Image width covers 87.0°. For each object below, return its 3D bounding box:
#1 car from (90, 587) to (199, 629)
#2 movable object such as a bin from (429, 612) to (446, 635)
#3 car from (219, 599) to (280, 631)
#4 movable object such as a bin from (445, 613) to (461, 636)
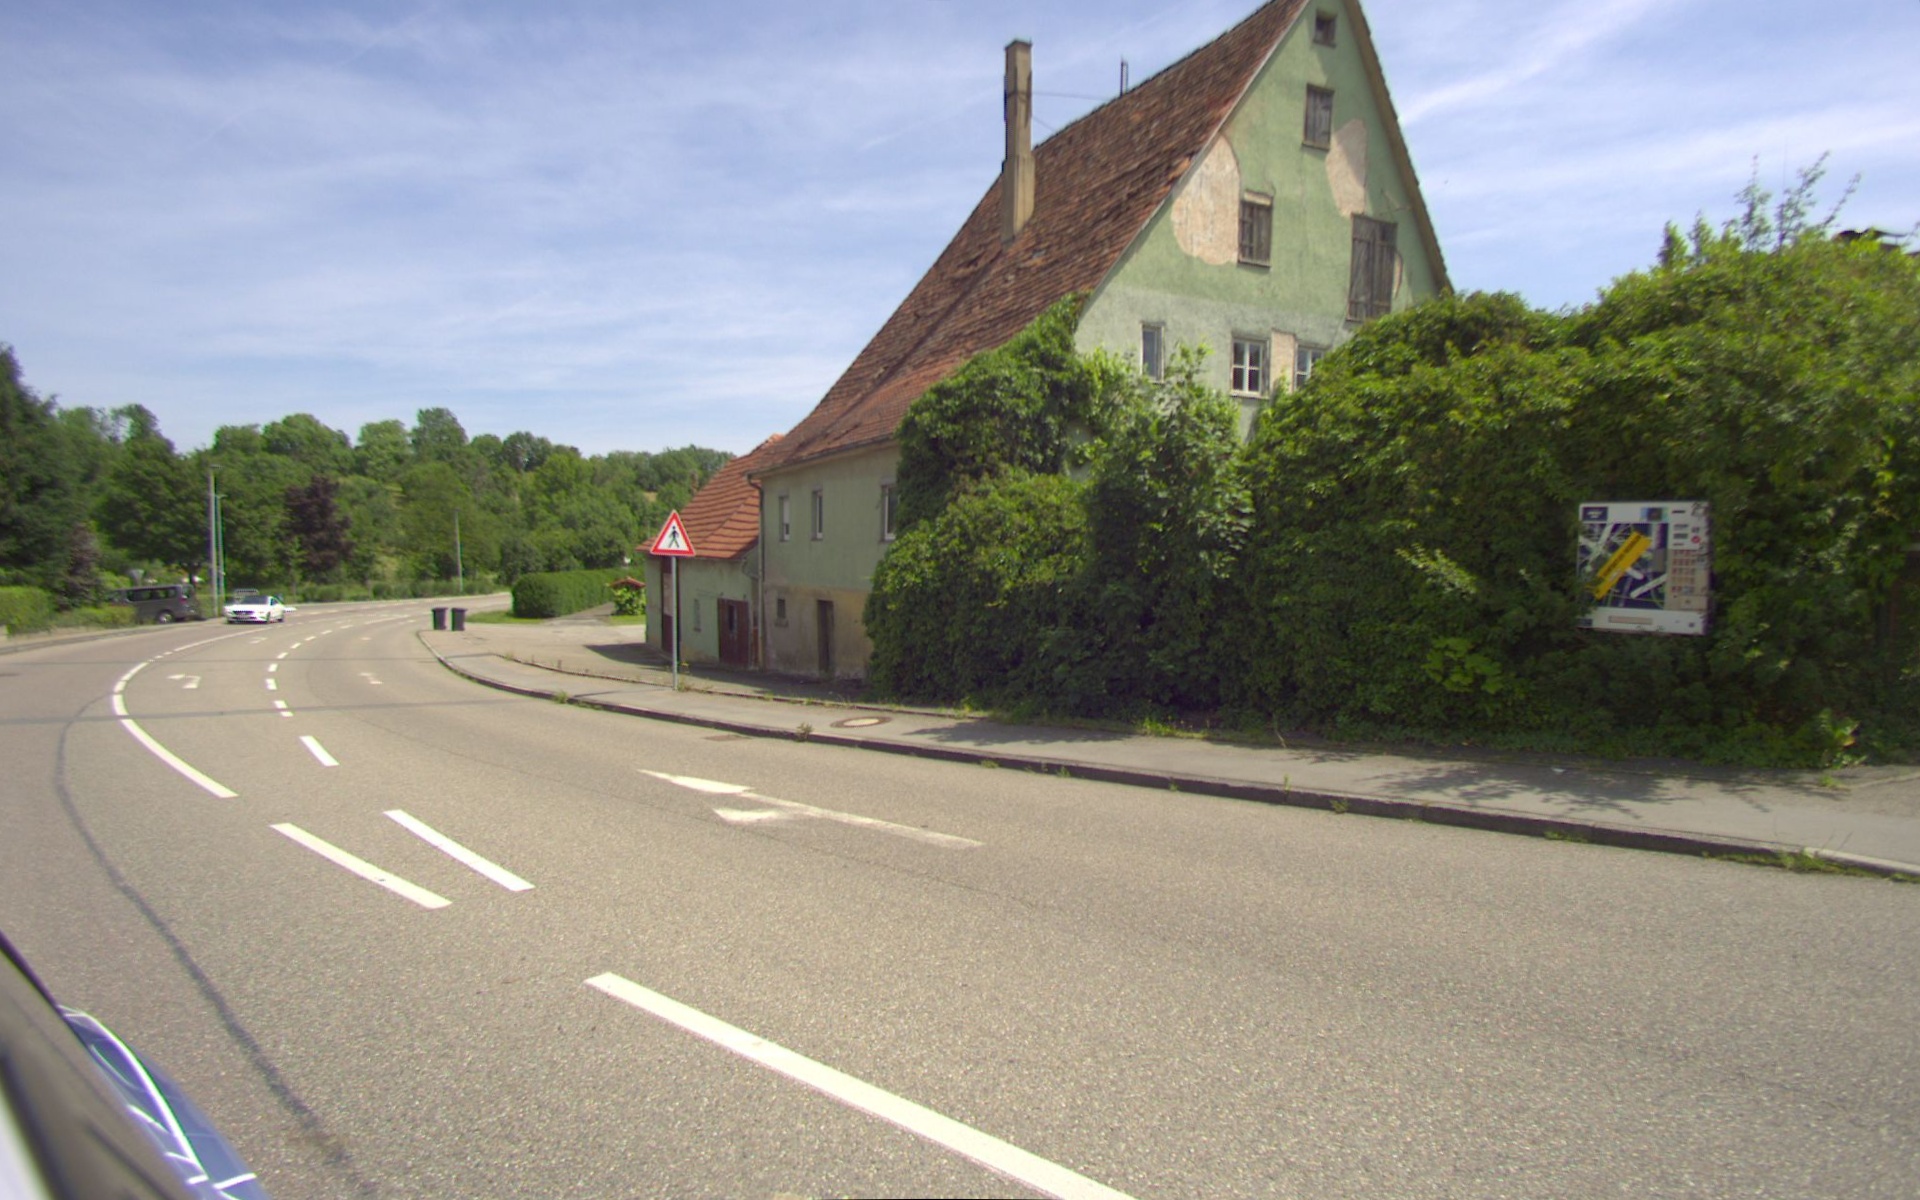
[{"bbox_3d":[-41.274,0.386,51.301,3.843,1.964,1.962,-2,0,-21],"label":"car"},{"bbox_3d":[-24.897,1.104,48.191,0.541,1.090,0.546,-1,0,43],"label":"movable object such as a bin"},{"bbox_3d":[-37.296,0.751,53.222,1.796,1.563,4.013,-2,0,-23],"label":"car"},{"bbox_3d":[-23.640,1.152,47.181,0.541,1.058,0.527,-1,0,43],"label":"movable object such as a bin"}]
